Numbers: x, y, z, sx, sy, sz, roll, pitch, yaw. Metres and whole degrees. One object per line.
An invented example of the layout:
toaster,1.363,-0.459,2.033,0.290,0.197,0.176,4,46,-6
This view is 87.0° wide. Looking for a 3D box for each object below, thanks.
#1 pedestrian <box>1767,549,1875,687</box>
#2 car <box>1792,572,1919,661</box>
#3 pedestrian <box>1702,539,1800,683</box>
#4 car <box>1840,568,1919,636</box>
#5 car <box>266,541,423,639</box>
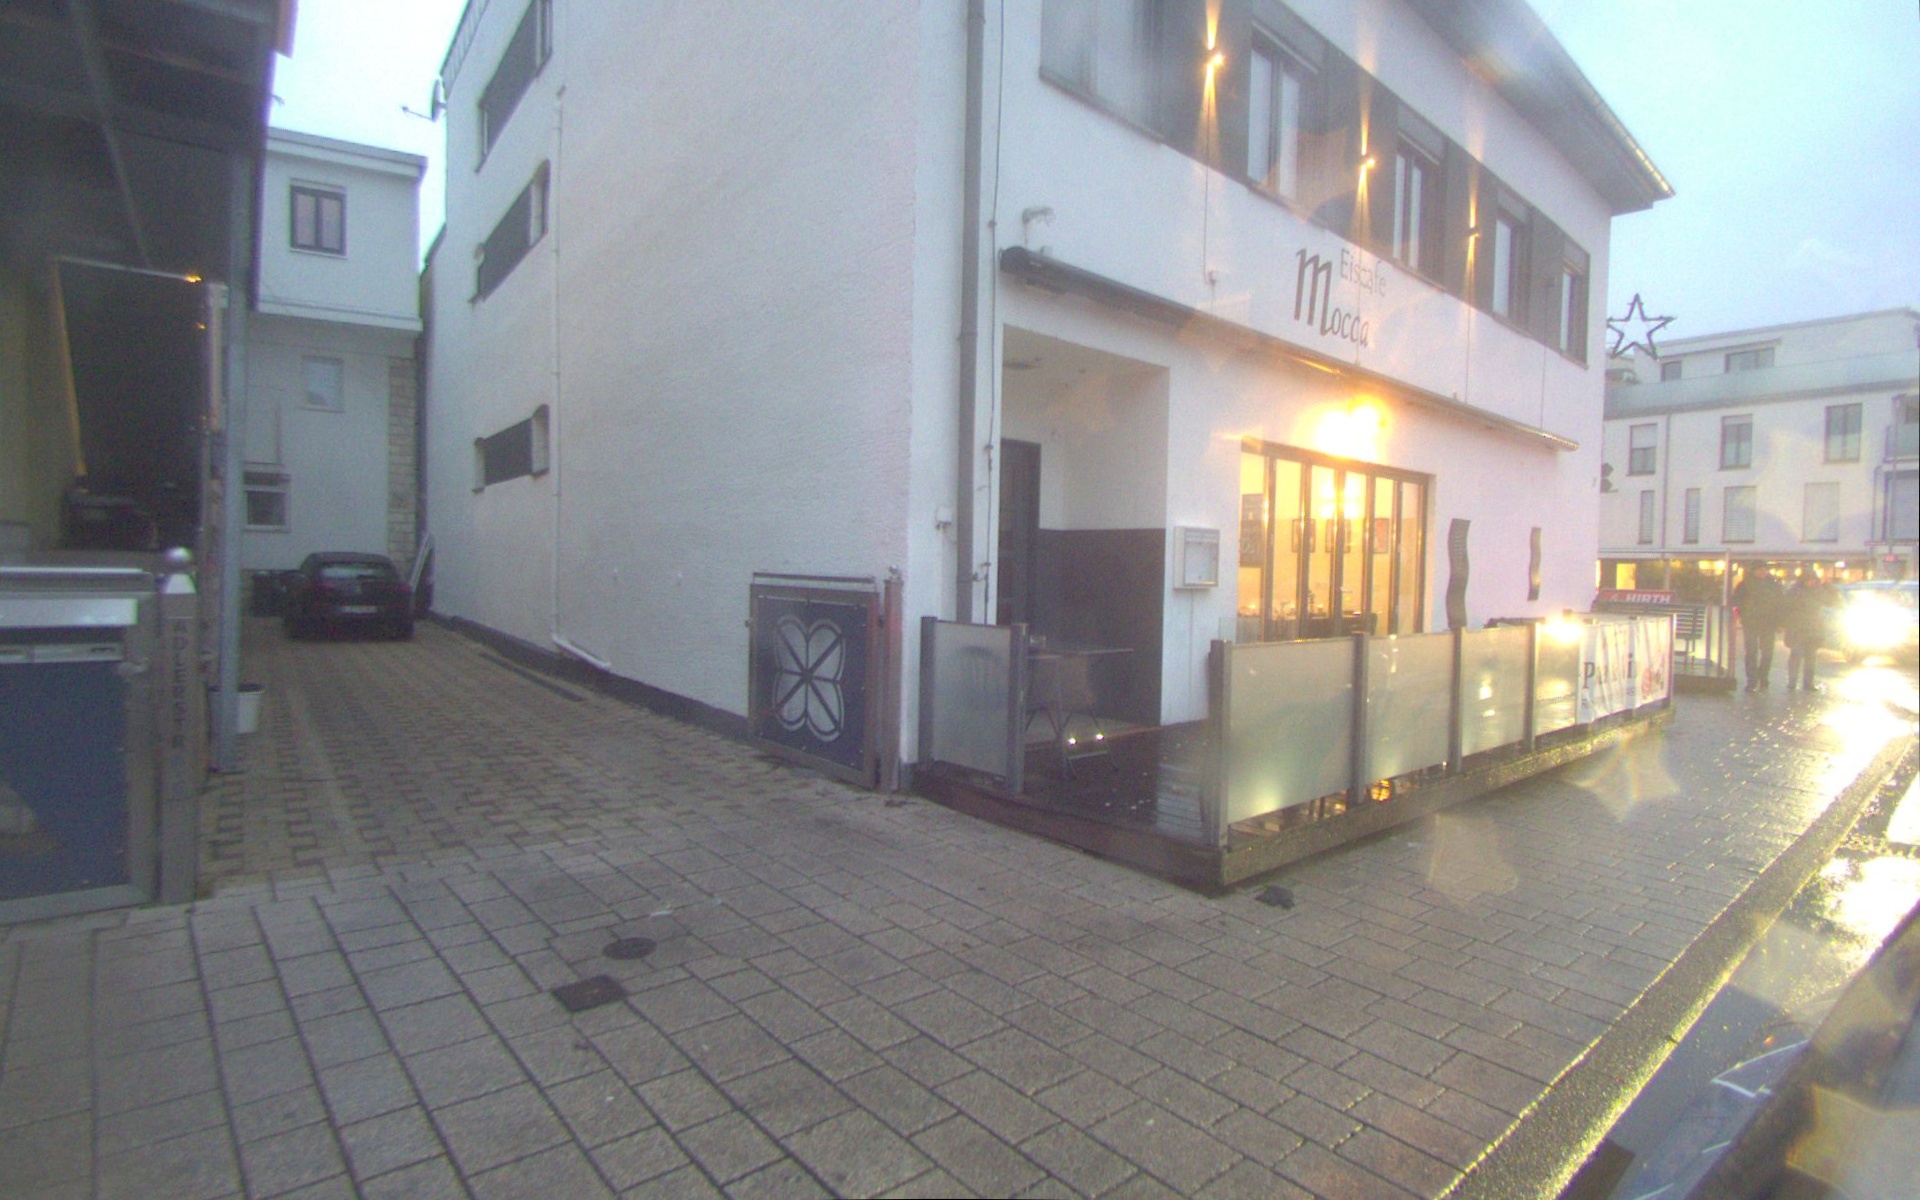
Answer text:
pedestrian,11.515,0.228,13.563,0.754,1.783,0.791,-1,1,3
car,18.461,0.245,19.985,2.007,1.497,4.521,-1,2,24
pedestrian,10.732,0.139,13.750,0.696,1.889,0.791,-1,1,3
car,27.515,0.008,28.914,3.916,1.767,1.830,-2,2,-18
car,-10.940,-0.223,17.861,1.901,1.433,3.962,3,2,-38
